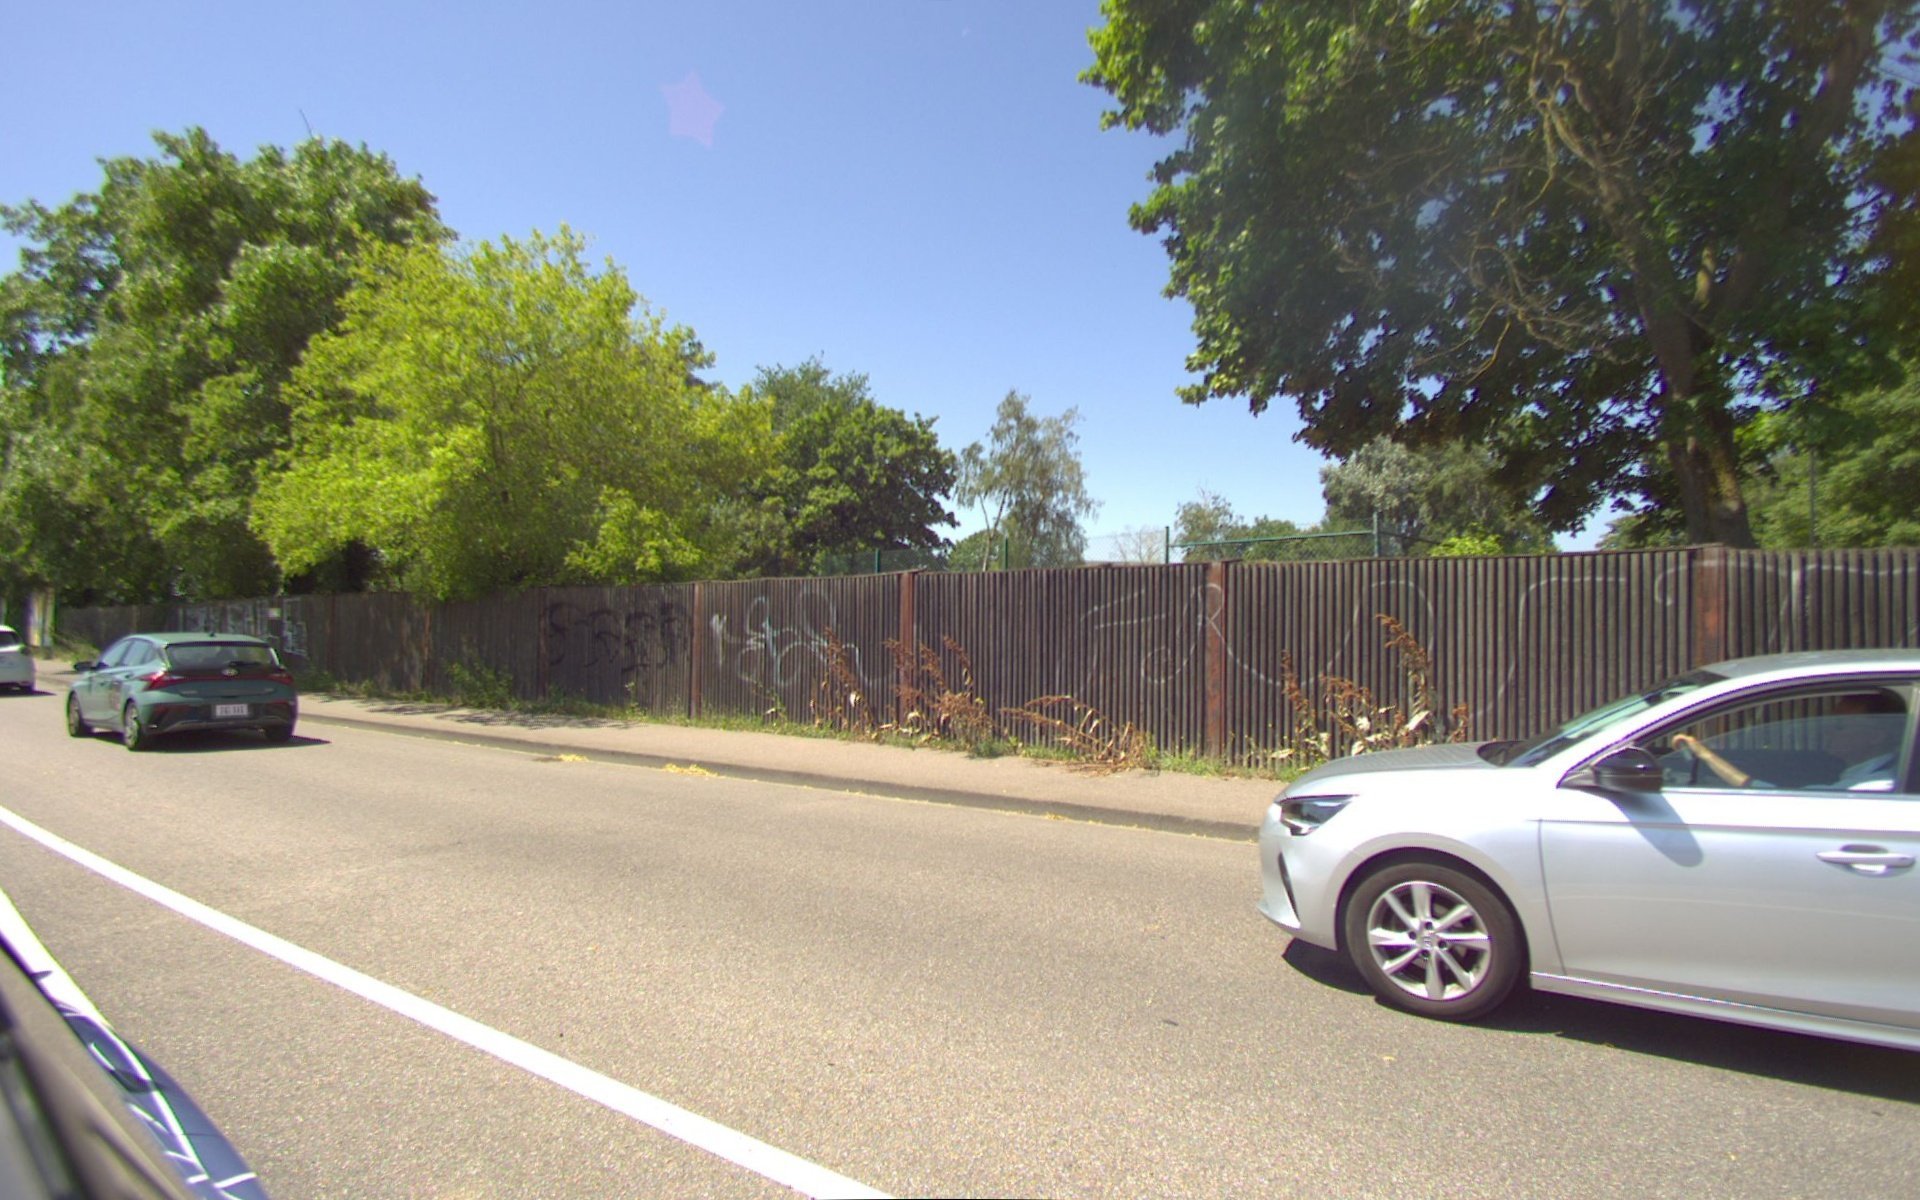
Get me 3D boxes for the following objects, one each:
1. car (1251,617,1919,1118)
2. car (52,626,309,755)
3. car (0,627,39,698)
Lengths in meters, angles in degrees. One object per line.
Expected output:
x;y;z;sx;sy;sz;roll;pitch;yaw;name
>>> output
3.246;0.828;3.763;3.834;1.475;1.699;-1;-3;35;car
-10.554;1.116;13.643;3.686;1.497;1.739;-1;-2;35;car
-22.026;1.360;22.347;3.686;1.497;1.739;-1;-2;35;car
